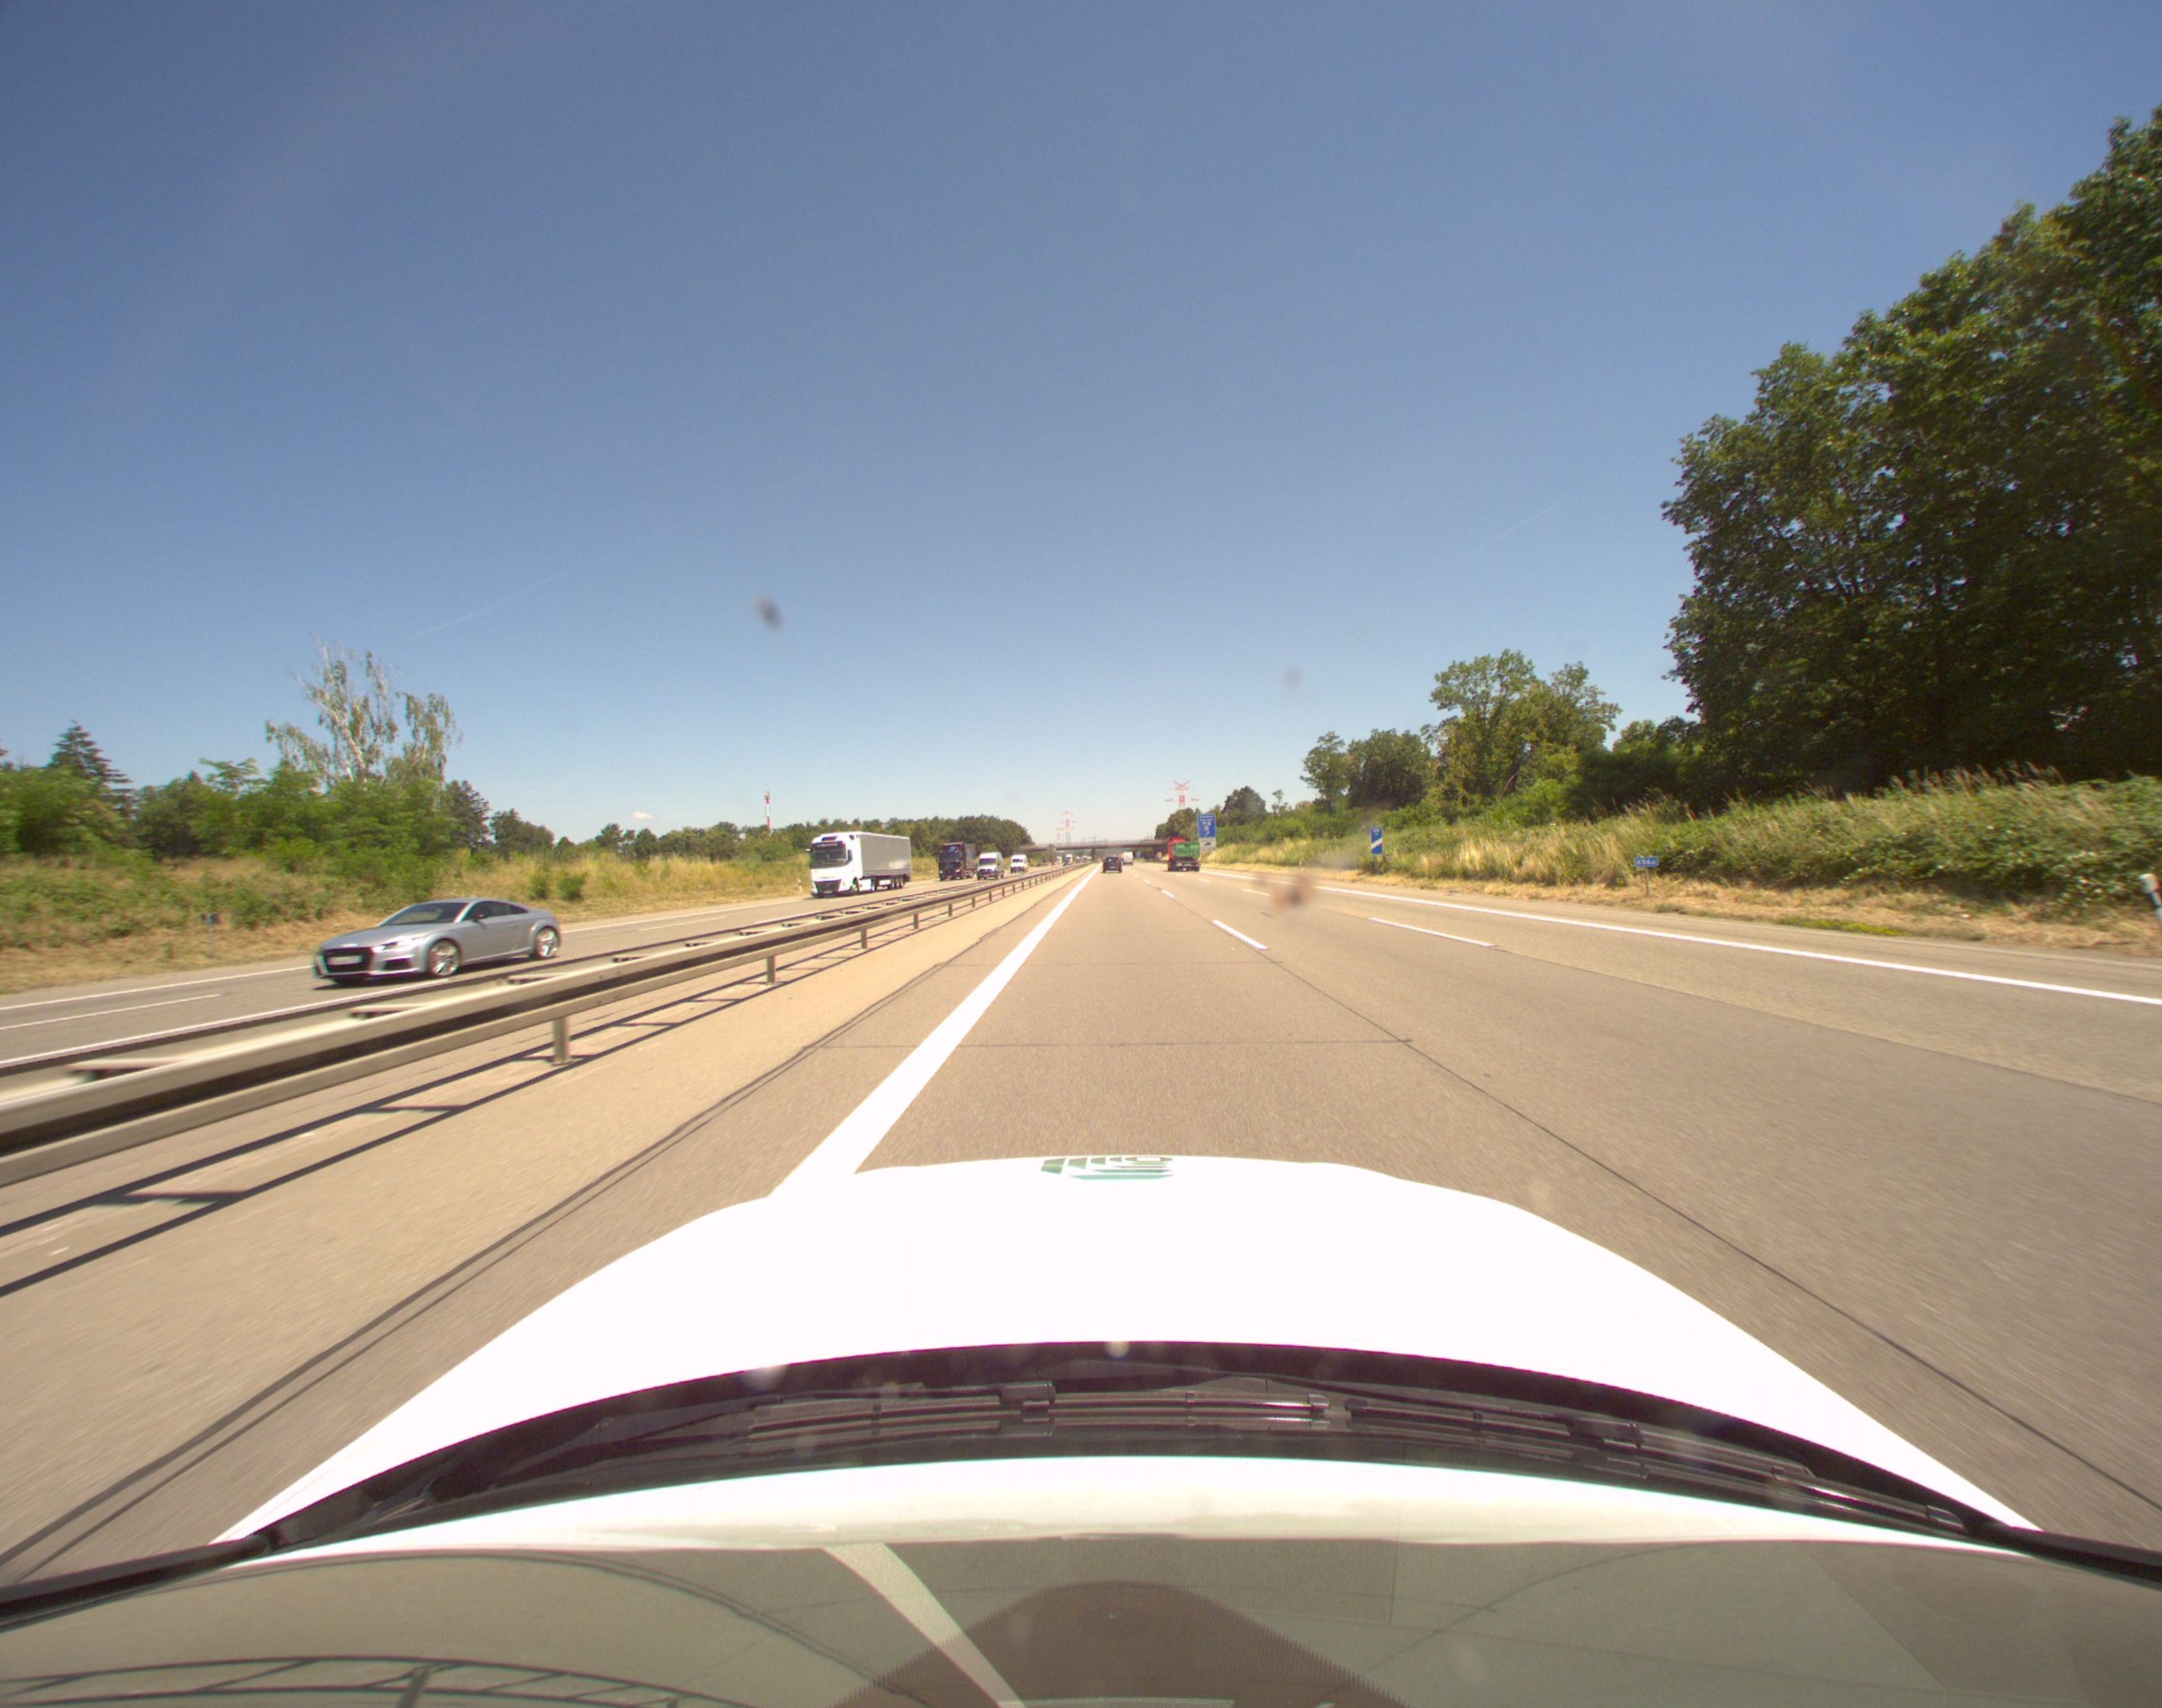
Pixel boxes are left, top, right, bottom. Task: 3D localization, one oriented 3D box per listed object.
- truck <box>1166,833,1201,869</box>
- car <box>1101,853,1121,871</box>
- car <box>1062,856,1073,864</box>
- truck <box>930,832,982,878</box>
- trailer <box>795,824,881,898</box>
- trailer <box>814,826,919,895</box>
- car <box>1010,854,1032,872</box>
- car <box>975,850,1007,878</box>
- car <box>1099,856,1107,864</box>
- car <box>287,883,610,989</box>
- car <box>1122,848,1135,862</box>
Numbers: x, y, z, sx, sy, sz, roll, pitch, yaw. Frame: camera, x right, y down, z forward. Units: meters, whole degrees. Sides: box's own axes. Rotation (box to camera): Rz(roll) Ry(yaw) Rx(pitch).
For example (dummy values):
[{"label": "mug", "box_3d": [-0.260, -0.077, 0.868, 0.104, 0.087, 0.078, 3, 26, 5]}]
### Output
[{"label": "truck", "box_3d": [11.403, -0.321, 91.589, 2.670, 3.798, 12.483, 0, 0, 2]}, {"label": "car", "box_3d": [3.080, 0.798, 84.518, 1.986, 1.750, 4.001, 0, 0, 1]}, {"label": "car", "box_3d": [-3.326, 1.451, 201.987, 2.355, 1.895, 5.226, -4, 0, 1]}, {"label": "truck", "box_3d": [-14.061, 0.114, 92.847, 3.364, 4.625, 12.192, -4, 0, 2]}, {"label": "trailer", "box_3d": [-15.334, 0.435, 51.963, 3.143, 4.198, 6.328, -4, 0, 2]}, {"label": "trailer", "box_3d": [-15.111, 0.457, 59.045, 3.143, 4.198, 14.131, -4, 0, 2]}, {"label": "car", "box_3d": [-8.692, 1.304, 119.068, 2.355, 2.448, 7.135, -4, 0, 2]}, {"label": "car", "box_3d": [-8.759, 0.959, 79.742, 1.986, 2.570, 6.393, -4, 0, 2]}, {"label": "car", "box_3d": [4.654, 1.311, 173.629, 1.787, 1.750, 4.001, 0, 0, 2]}, {"label": "car", "box_3d": [-11.690, 1.408, 15.733, 1.955, 1.429, 5.291, -3, 0, 1]}, {"label": "car", "box_3d": [9.924, 0.222, 169.708, 2.611, 2.759, 6.099, 0, 0, 2]}]
